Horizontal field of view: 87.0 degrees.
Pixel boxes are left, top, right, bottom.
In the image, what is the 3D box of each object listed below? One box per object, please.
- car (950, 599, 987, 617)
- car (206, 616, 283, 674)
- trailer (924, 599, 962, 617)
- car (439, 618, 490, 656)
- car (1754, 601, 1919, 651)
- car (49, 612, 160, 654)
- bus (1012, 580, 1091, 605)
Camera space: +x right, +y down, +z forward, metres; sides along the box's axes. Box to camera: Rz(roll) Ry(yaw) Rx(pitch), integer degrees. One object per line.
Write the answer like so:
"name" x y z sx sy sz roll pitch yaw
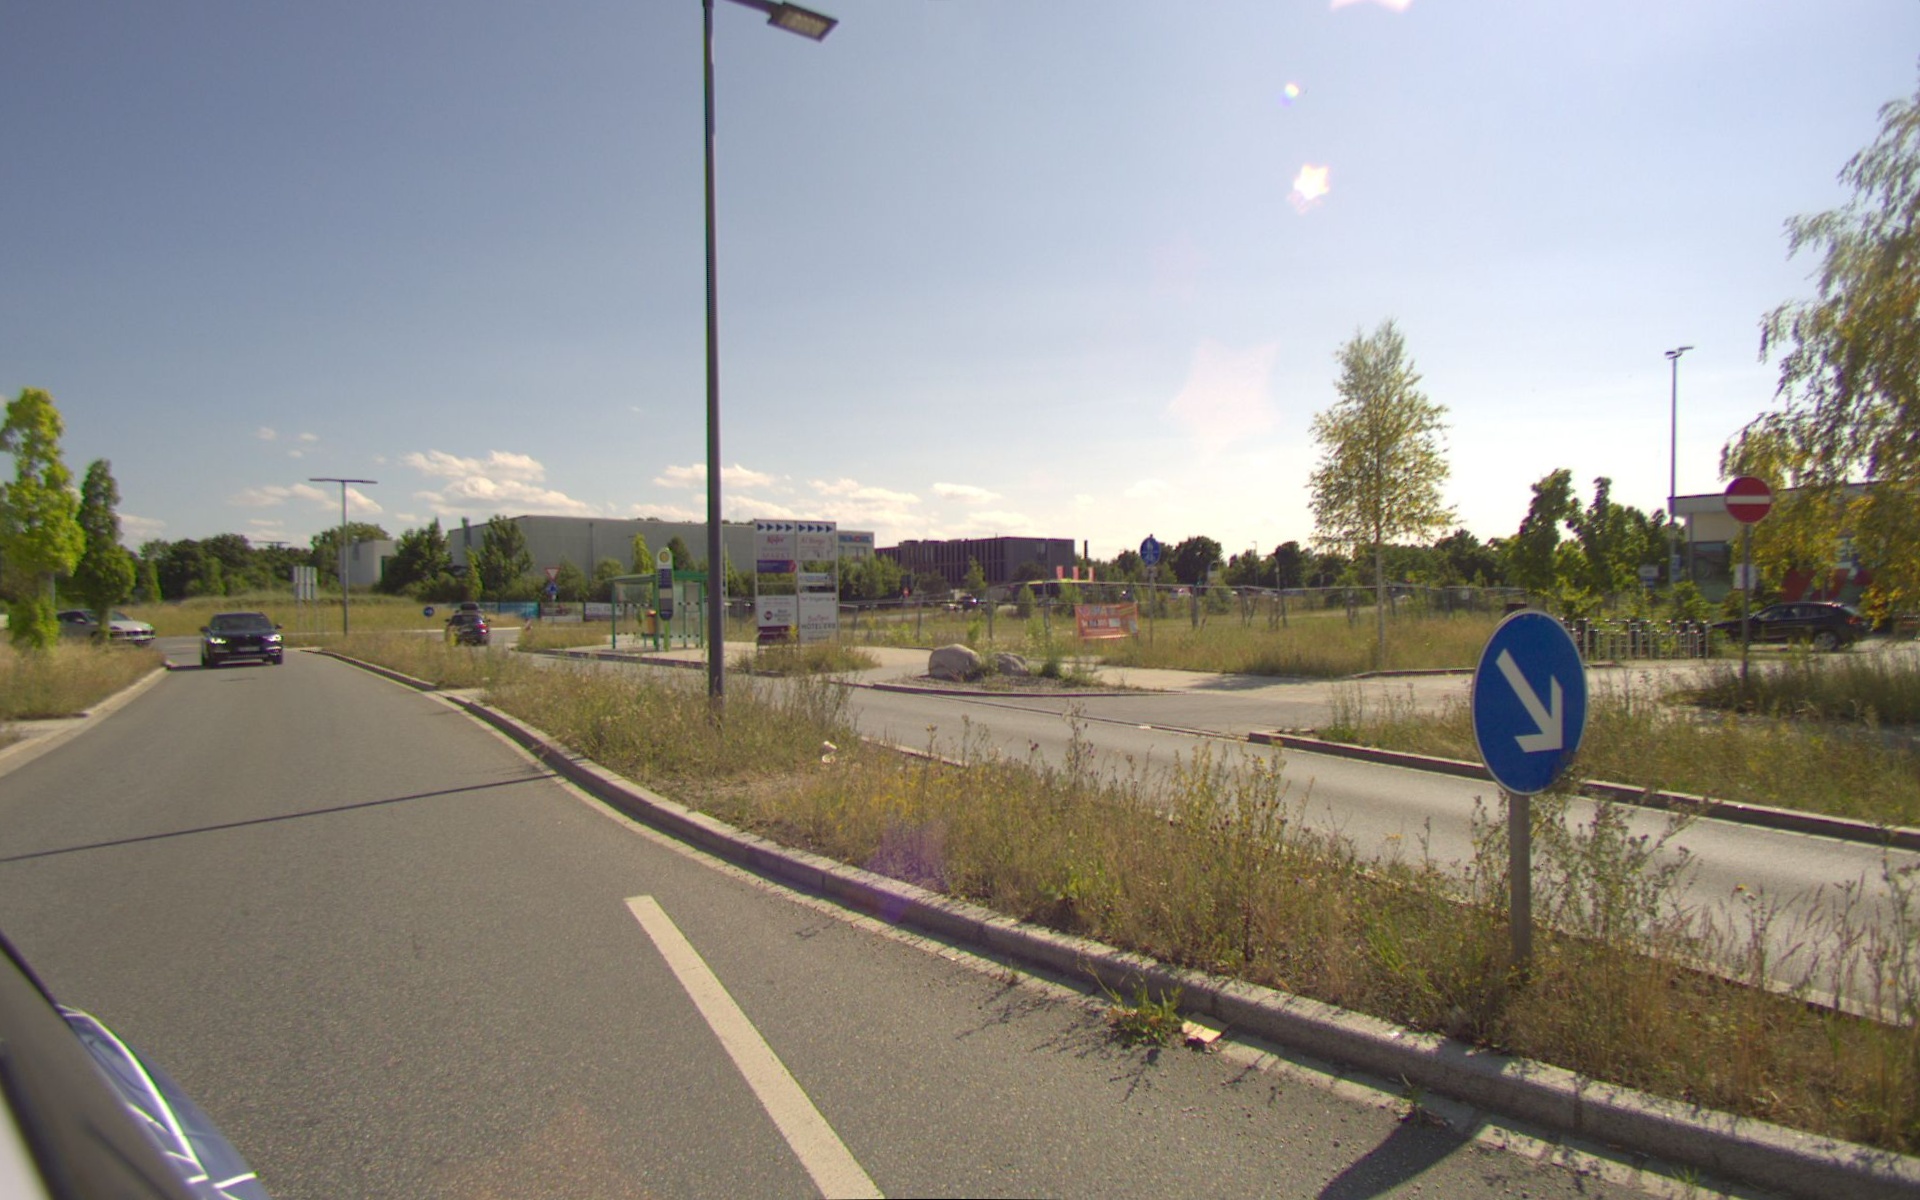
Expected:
"car" 0.952 0.836 108.657 1.829 1.874 3.943 0 0 43
"car" -22.202 1.338 31.443 1.812 1.586 4.010 -2 0 -35
"trailer" -1.748 0.832 105.838 1.829 1.874 3.943 0 0 43
"car" -22.272 1.622 45.401 1.965 1.528 4.210 0 0 -27
"car" 27.584 0.768 31.819 1.743 1.434 3.853 0 0 -38
"car" -36.074 1.339 42.666 4.370 1.586 1.828 0 1 23
"bus" 10.766 -0.882 118.251 2.581 2.756 11.401 0 1 44
